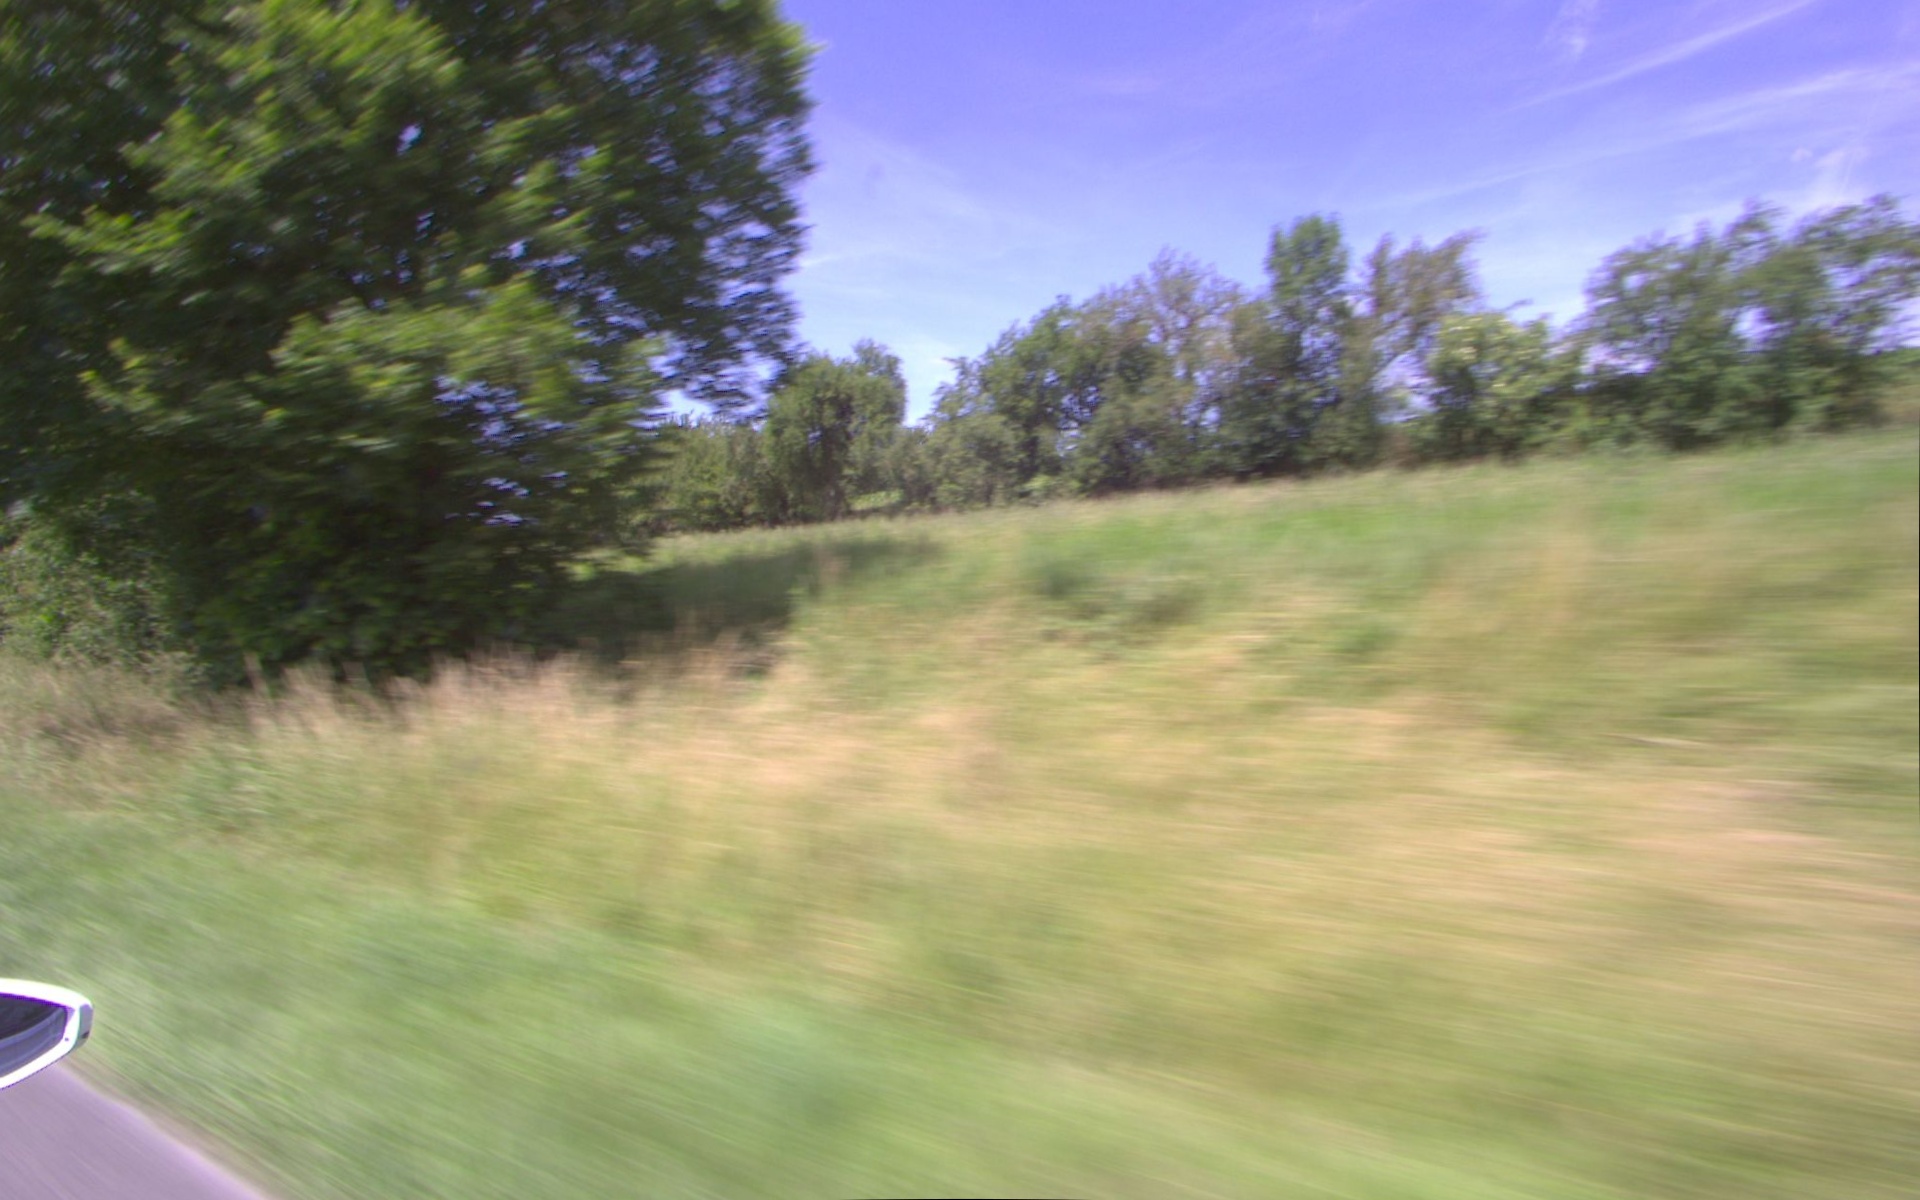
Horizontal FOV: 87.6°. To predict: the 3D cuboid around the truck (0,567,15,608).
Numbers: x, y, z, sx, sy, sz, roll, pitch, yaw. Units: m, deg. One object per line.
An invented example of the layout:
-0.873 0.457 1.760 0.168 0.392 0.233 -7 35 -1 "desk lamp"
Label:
-112.440 -1.506 114.471 3.072 4.768 16.491 -1 0 -32 "truck"
